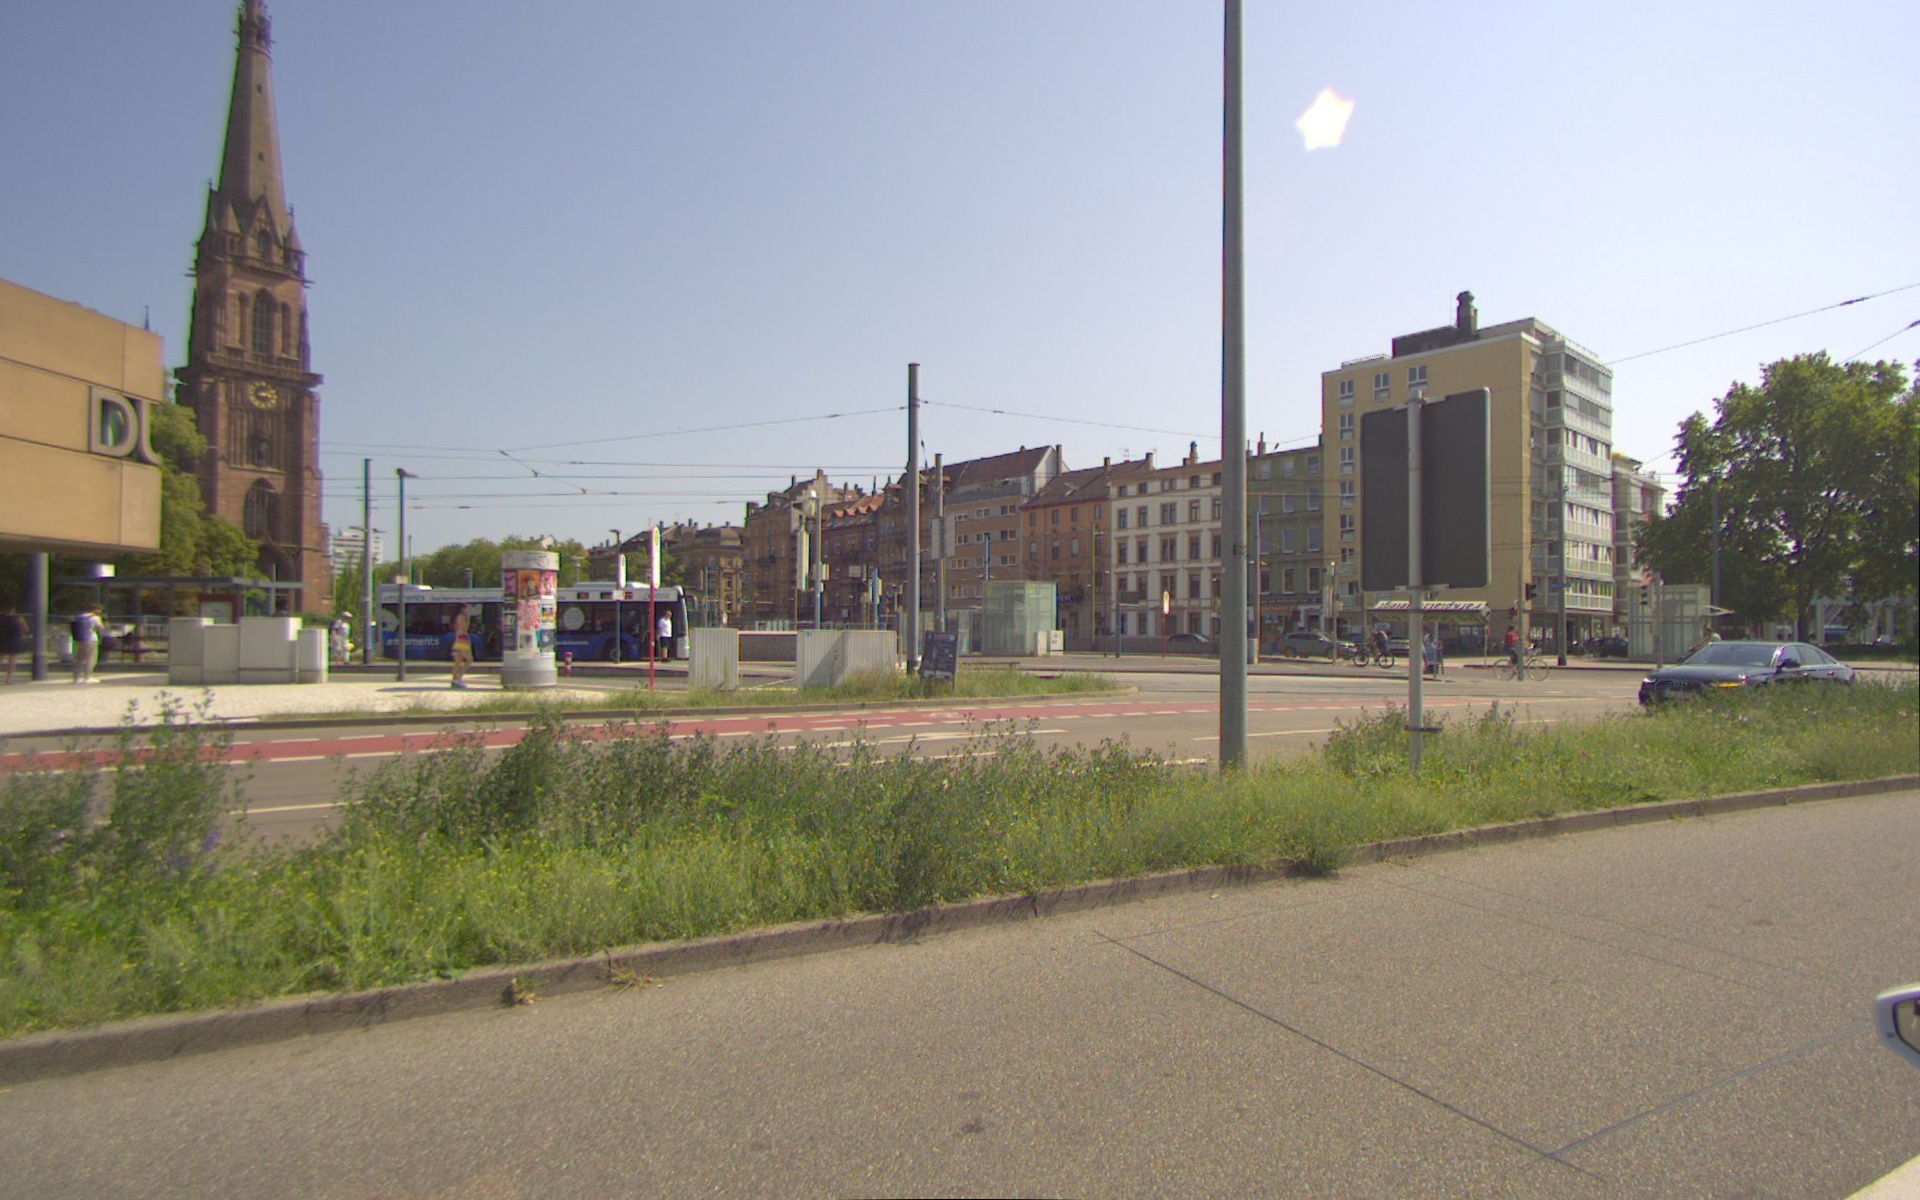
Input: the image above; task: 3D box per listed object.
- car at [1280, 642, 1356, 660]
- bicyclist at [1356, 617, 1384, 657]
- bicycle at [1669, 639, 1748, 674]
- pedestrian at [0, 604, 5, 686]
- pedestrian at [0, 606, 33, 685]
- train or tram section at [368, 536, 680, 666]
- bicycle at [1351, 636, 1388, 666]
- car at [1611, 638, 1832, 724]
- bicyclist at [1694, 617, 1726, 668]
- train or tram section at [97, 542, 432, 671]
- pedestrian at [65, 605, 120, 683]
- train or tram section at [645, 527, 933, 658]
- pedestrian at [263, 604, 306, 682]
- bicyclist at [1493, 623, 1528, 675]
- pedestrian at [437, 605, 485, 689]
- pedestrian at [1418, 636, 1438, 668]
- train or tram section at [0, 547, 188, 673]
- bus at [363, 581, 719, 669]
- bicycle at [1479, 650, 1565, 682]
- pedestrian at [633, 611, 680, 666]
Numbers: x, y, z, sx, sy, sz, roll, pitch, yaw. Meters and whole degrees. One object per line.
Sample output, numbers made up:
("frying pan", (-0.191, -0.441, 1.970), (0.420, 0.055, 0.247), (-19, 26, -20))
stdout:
("car", (20.993, 2.986, 58.986), (3.841, 1.000, 1.706), (-2, -3, 44))
("bicyclist", (17.373, 1.583, 42.563), (0.958, 1.675, 0.661), (-1, -2, 33))
("bicycle", (24.985, 1.872, 33.548), (2.002, 1.152, 0.699), (0, -2, 11))
("pedestrian", (-19.615, 0.892, 19.920), (0.679, 1.635, 0.639), (0, -2, 8))
("pedestrian", (-20.001, 0.945, 21.159), (0.500, 1.635, 0.491), (0, -2, 26))
("train or tram section", (-13.029, 0.126, 30.570), (8.080, 3.616, 3.147), (-1, -3, 2))
("bicycle", (17.314, 2.128, 42.446), (0.958, 1.194, 2.825), (-1, -2, 32))
("car", (14.624, 1.474, 19.229), (4.711, 1.429, 1.761), (2, -1, -31))
("bicyclist", (25.043, 1.403, 33.541), (0.607, 1.671, 0.693), (0, -1, 11))
("train or tram section", (-21.074, 0.277, 30.821), (8.080, 3.616, 3.147), (-1, -3, 2))
("pedestrian", (-19.356, 0.981, 22.434), (0.800, 1.691, 0.546), (2, -2, -31))
("train or tram section", (-4.973, -0.124, 30.335), (8.080, 3.616, 3.147), (-1, -3, 2))
("pedestrian", (-15.691, 1.002, 23.341), (0.541, 1.786, 0.696), (1, -2, -11))
("bicyclist", (18.093, 1.608, 33.001), (0.602, 1.664, 0.831), (1, -2, -42))
("pedestrian", (-10.348, 0.970, 20.850), (0.616, 1.725, 0.787), (0, -2, -5))
("pedestrian", (24.407, 2.713, 52.400), (0.808, 1.654, 0.643), (2, -2, -41))
("train or tram section", (-29.125, 0.420, 31.068), (8.080, 3.616, 3.147), (-1, -3, 2))
("bus", (-15.636, 0.965, 38.075), (12.233, 3.111, 3.108), (0, -2, 2))
("bicycle", (18.302, 2.125, 32.747), (0.599, 0.966, 2.388), (2, -3, -41))
("pedestrian", (-10.762, 1.378, 35.666), (1.284, 1.910, 1.039), (0, -3, 4))
